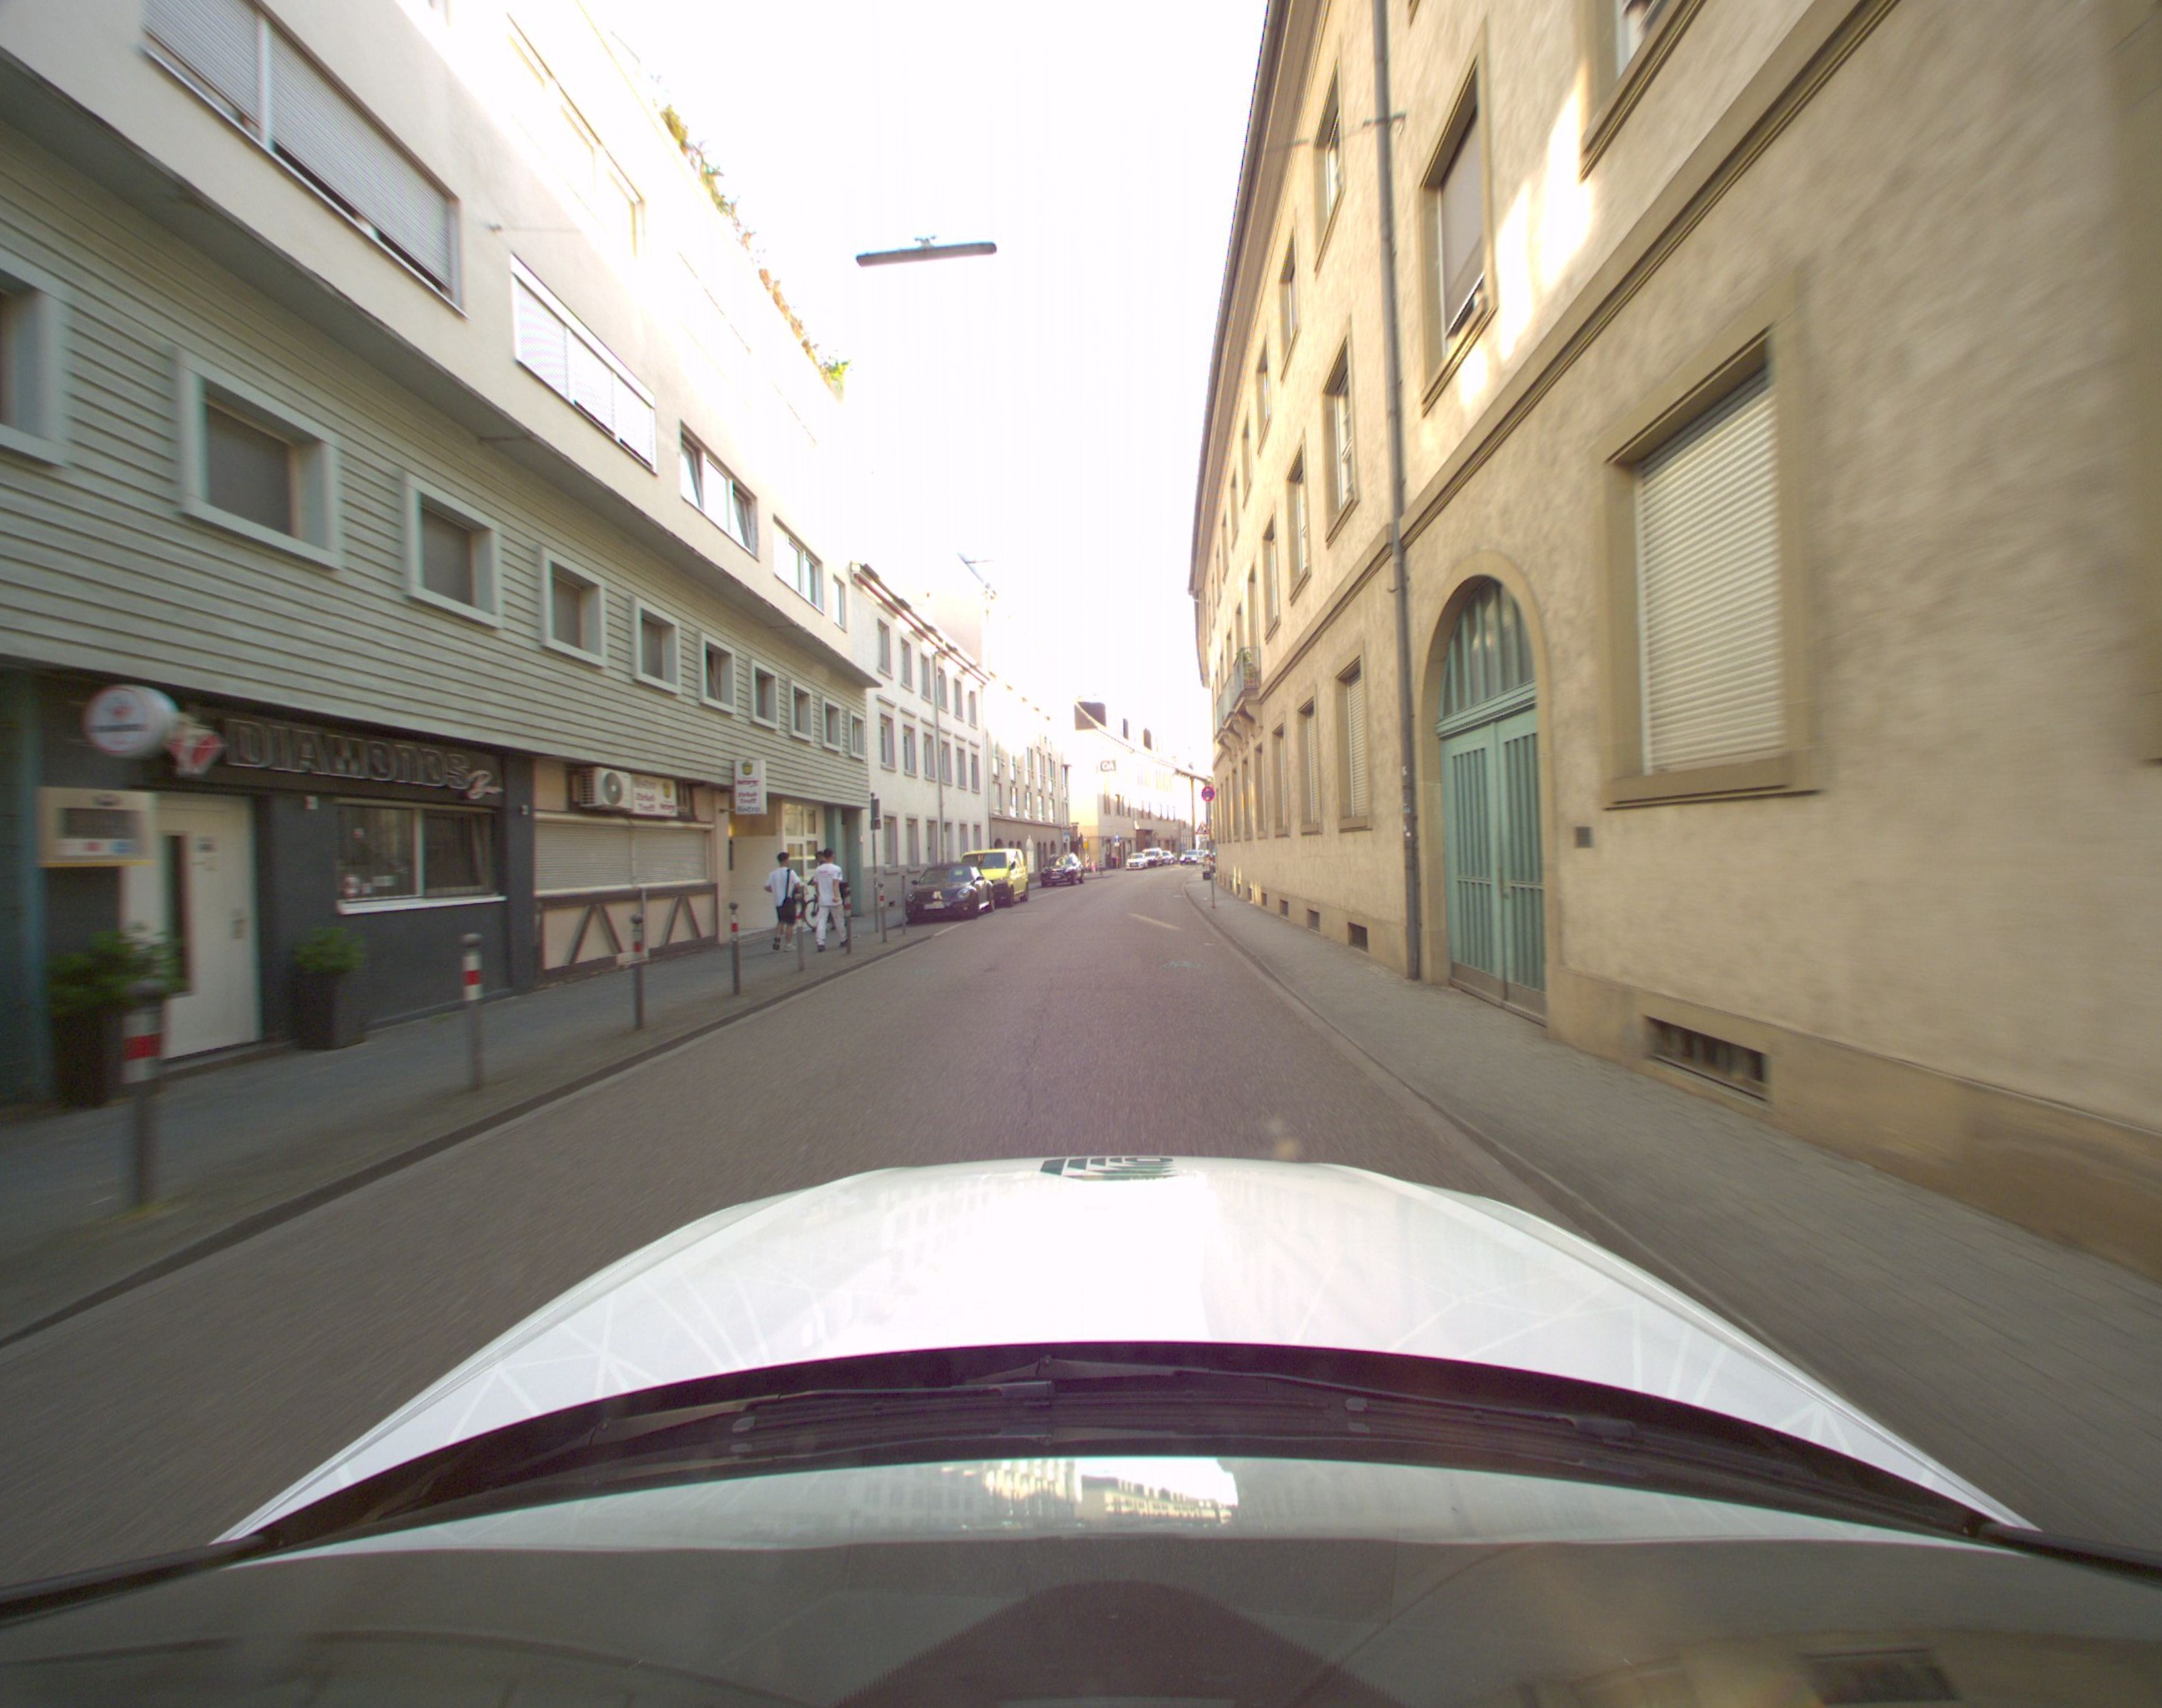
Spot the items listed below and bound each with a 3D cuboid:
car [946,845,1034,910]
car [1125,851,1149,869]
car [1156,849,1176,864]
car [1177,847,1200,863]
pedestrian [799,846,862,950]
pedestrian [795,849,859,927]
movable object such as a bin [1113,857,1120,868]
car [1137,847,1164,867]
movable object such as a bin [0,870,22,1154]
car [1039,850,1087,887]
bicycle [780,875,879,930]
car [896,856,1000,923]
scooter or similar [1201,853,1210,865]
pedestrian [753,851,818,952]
[{"bbox_3d":[-2.975,0.730,27.738,1.871,1.866,4.871,-5,0,5],"label":"car"},{"bbox_3d":[5.121,0.520,74.184,1.659,1.507,3.806,-4,0,11],"label":"car"},{"bbox_3d":[8.968,0.233,85.772,1.261,1.507,3.417,-4,0,17],"label":"car"},{"bbox_3d":[10.940,0.101,83.121,1.709,1.578,4.190,-2,0,1],"label":"car"},{"bbox_3d":[-4.363,0.748,14.225,0.695,1.734,0.830,-3,0,4],"label":"pedestrian"},{"bbox_3d":[-5.797,0.771,18.611,1.068,1.728,0.807,-2,0,26],"label":"pedestrian"},{"bbox_3d":[3.332,0.784,75.680,0.605,1.060,0.715,0,0,8],"label":"movable object such as a bin"},{"bbox_3d":[6.875,0.247,79.845,1.657,1.818,4.571,-4,0,16],"label":"car"},{"bbox_3d":[-6.390,0.882,3.773,1.118,1.520,1.342,-2,1,1],"label":"movable object such as a bin"},{"bbox_3d":[-0.904,0.745,43.980,1.729,1.711,4.202,-5,0,9],"label":"car"},{"bbox_3d":[-5.755,1.111,18.596,2.109,1.163,0.828,-2,0,26],"label":"bicycle"},{"bbox_3d":[-3.500,0.887,22.186,1.811,1.486,4.080,-5,0,3],"label":"car"},{"bbox_3d":[11.347,0.464,74.248,0.765,1.136,0.270,0,0,13],"label":"scooter or similar"},{"bbox_3d":[-5.148,0.803,14.233,0.669,1.669,0.895,-3,0,4],"label":"pedestrian"}]
